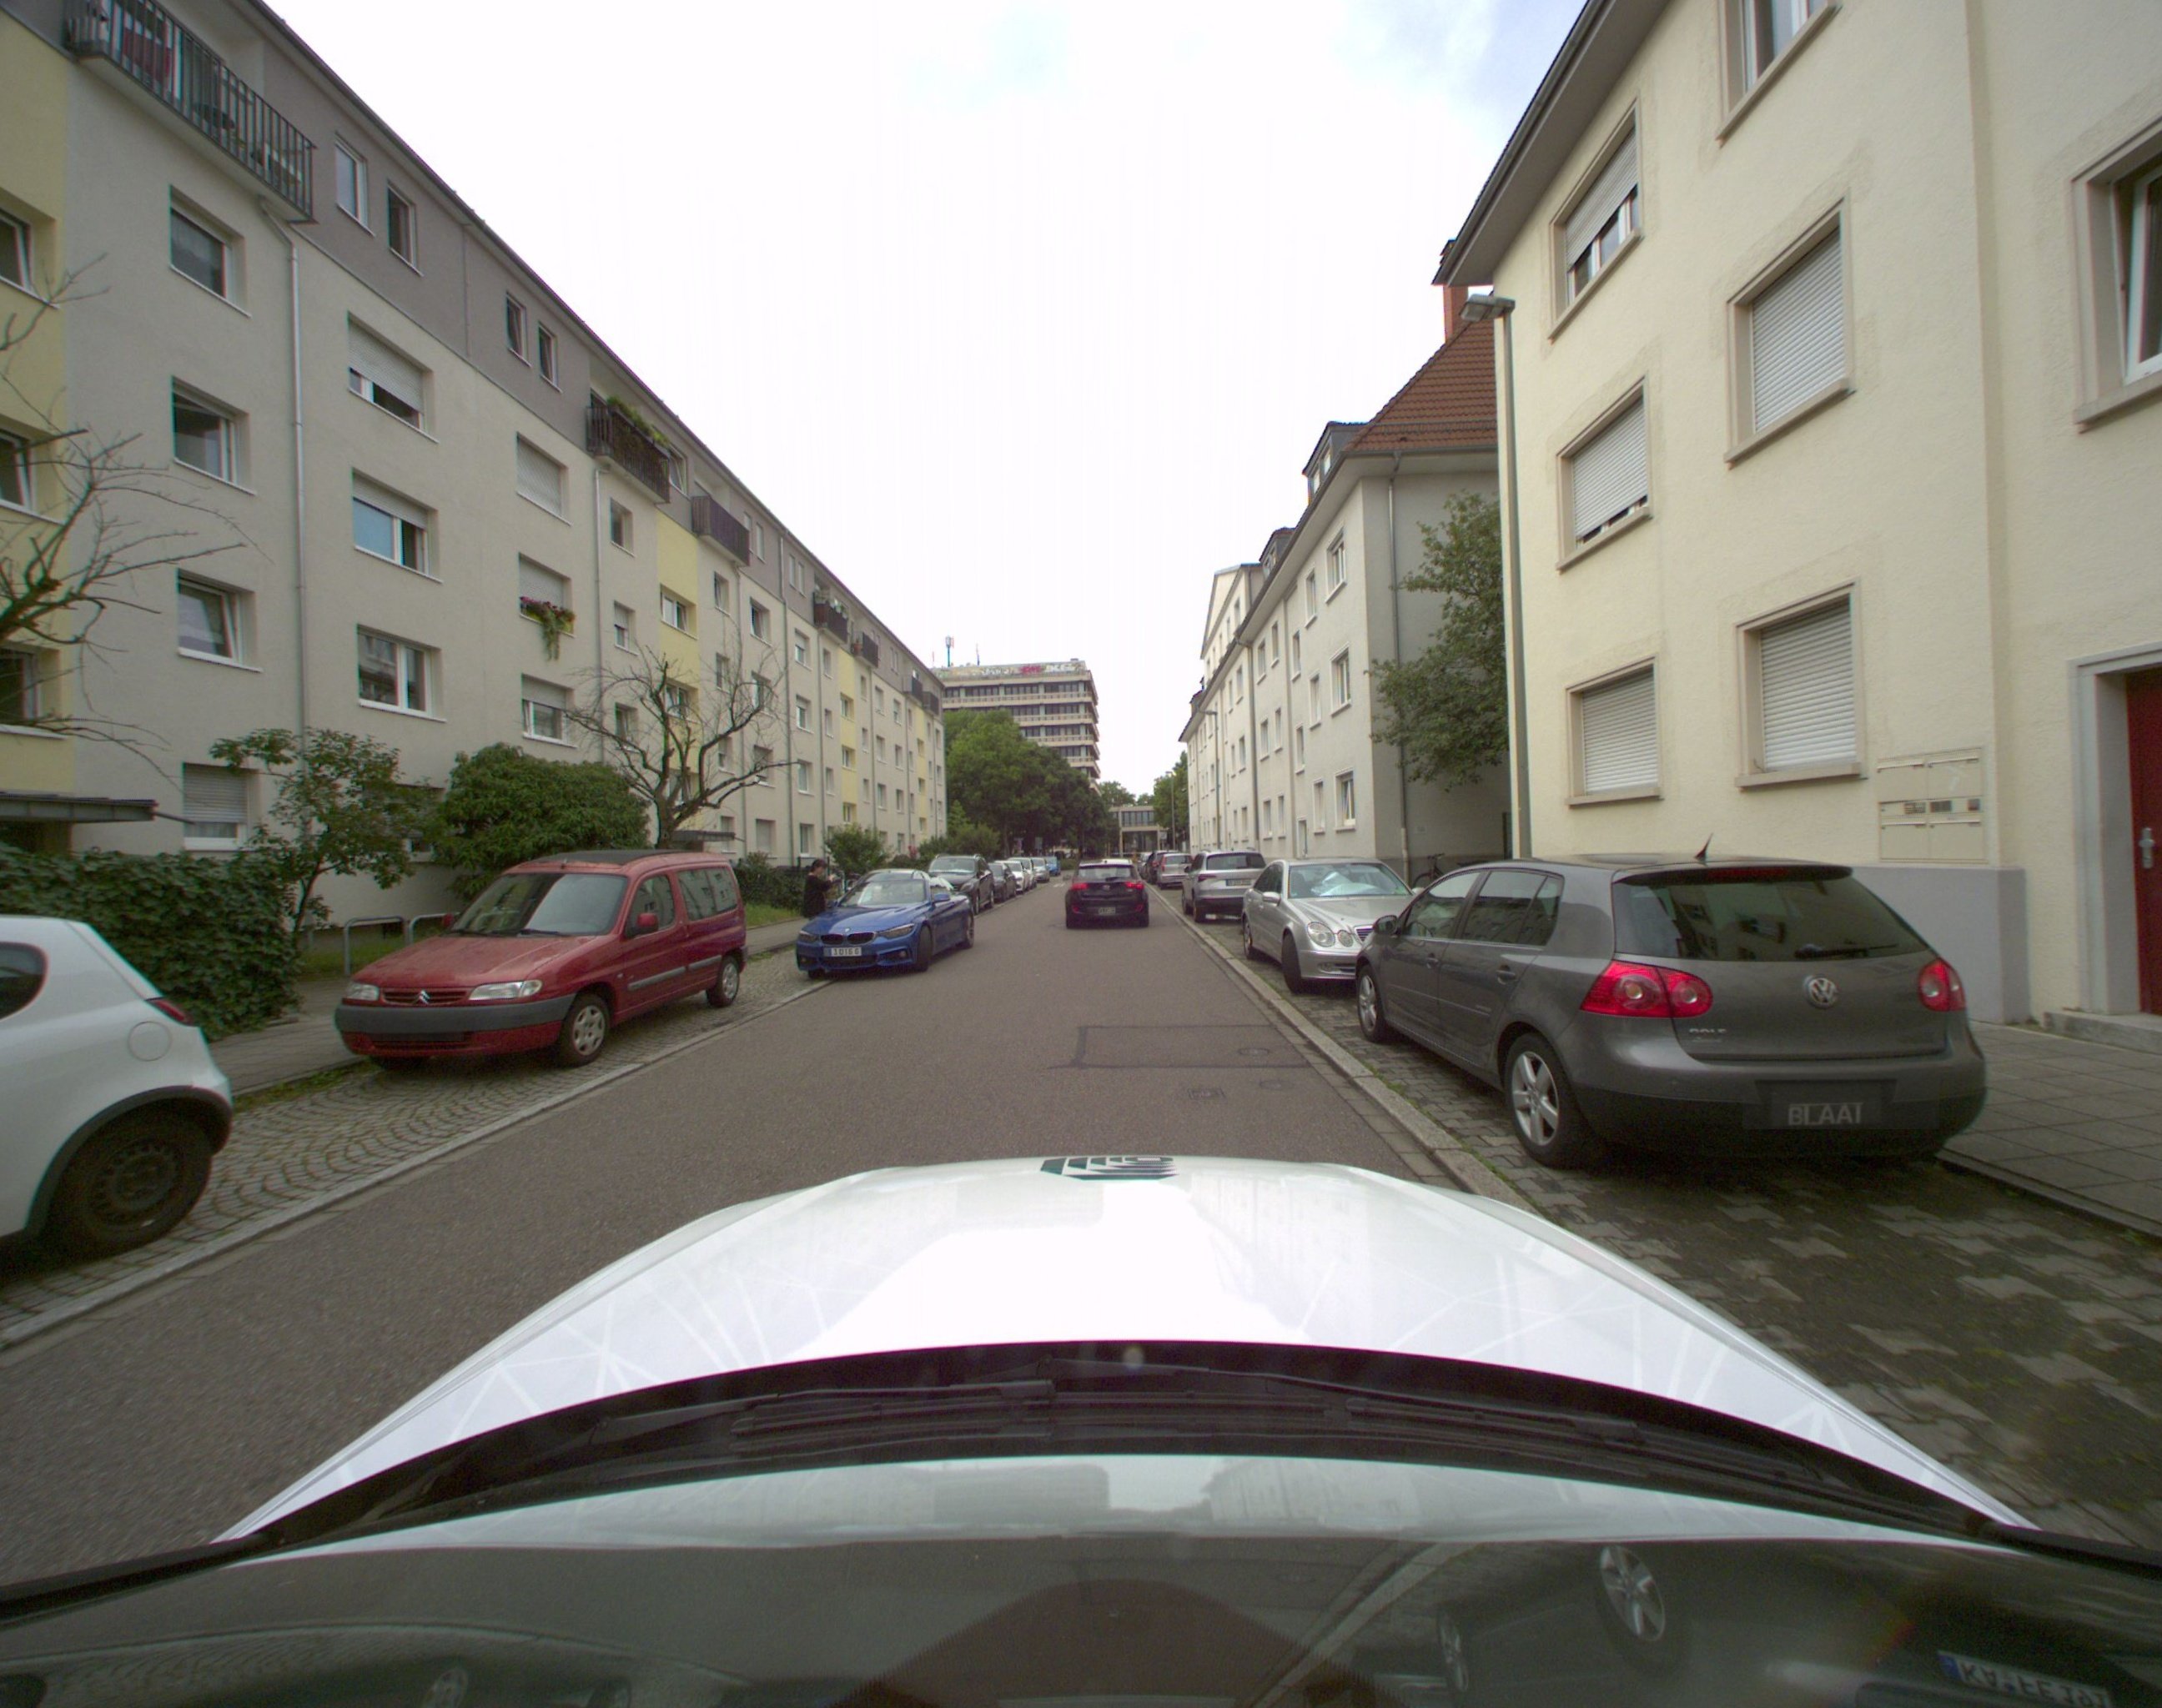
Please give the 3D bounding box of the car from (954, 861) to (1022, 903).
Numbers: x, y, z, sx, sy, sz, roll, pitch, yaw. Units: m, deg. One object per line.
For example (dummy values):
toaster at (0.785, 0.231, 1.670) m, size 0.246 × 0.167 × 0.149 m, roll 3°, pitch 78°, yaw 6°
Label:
car at (-3.493, 1.007, 31.333) m, size 1.887 × 1.452 × 4.669 m, roll 1°, pitch 0°, yaw 2°

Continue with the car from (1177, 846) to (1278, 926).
car at (3.305, 0.673, 19.116) m, size 1.813 × 1.642 × 4.094 m, roll -1°, pitch 0°, yaw 3°

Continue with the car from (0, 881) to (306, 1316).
car at (-4.895, 0.925, 2.238) m, size 1.714 × 1.570 × 3.872 m, roll 0°, pitch 0°, yaw 2°

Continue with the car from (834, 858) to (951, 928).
car at (-4.419, 0.861, 19.652) m, size 1.737 × 1.464 × 3.788 m, roll -2°, pitch 0°, yaw 2°

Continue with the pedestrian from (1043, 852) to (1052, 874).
pedestrian at (-2.898, 0.797, 70.355) m, size 0.710 × 1.831 × 0.798 m, roll -1°, pitch 0°, yaw 4°

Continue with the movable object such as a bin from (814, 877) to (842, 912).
movable object such as a bin at (-7.383, 1.165, 23.753) m, size 0.549 × 0.954 × 0.635 m, roll -3°, pitch 0°, yaw 2°

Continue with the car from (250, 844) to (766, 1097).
car at (-4.931, 0.832, 7.997) m, size 1.950 × 1.770 × 4.361 m, roll -1°, pitch 0°, yaw 0°

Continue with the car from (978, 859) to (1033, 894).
car at (-3.315, 0.965, 36.699) m, size 1.887 × 1.452 × 4.523 m, roll 1°, pitch 0°, yaw 2°

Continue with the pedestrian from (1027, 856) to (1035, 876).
pedestrian at (-4.323, 1.001, 70.273) m, size 0.598 × 1.713 × 0.649 m, roll -1°, pitch 0°, yaw 4°

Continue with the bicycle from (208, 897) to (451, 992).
bicycle at (-10.348, 1.191, 11.437) m, size 0.774 × 0.999 × 2.757 m, roll -2°, pitch 0°, yaw 1°

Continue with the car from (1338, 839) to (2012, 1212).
car at (2.985, 0.694, 5.207) m, size 1.596 × 1.476 × 3.871 m, roll -1°, pitch 0°, yaw 2°

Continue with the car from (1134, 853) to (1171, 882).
car at (4.004, 0.725, 46.108) m, size 1.813 × 1.519 × 4.675 m, roll -2°, pitch 0°, yaw 2°

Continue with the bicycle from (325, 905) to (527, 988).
bicycle at (-9.143, 1.244, 11.576) m, size 0.569 × 0.848 × 2.757 m, roll -2°, pitch 0°, yaw 1°

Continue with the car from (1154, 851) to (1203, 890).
car at (4.142, 0.662, 35.229) m, size 1.813 × 1.503 × 4.094 m, roll -2°, pitch 0°, yaw 3°

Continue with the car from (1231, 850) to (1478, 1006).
car at (3.057, 0.717, 10.120) m, size 1.718 × 1.476 × 4.507 m, roll -1°, pitch 0°, yaw 3°

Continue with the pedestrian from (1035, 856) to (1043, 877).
pedestrian at (-3.617, 1.069, 70.602) m, size 0.602 × 1.831 × 0.676 m, roll -1°, pitch 0°, yaw 4°

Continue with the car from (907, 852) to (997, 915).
car at (-3.860, 0.840, 25.187) m, size 1.887 × 1.740 × 4.477 m, roll 1°, pitch 0°, yaw 2°

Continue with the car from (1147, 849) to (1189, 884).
car at (4.221, 0.582, 39.943) m, size 1.813 × 1.603 × 4.094 m, roll -2°, pitch 0°, yaw 3°

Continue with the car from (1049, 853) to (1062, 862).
car at (-3.756, 0.477, 121.769) m, size 1.659 × 1.333 × 3.397 m, roll -1°, pitch 0°, yaw 2°

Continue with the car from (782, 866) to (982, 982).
car at (-2.938, 0.969, 13.135) m, size 1.837 × 1.451 × 4.505 m, roll -1°, pitch 0°, yaw 3°

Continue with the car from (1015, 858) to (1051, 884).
car at (-2.967, 1.038, 51.134) m, size 1.987 × 1.541 × 3.999 m, roll -1°, pitch 0°, yaw 0°

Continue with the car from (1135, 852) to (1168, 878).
car at (4.453, 0.663, 52.056) m, size 1.813 × 1.519 × 4.675 m, roll -2°, pitch 0°, yaw 2°

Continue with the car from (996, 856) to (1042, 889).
car at (-3.215, 0.919, 42.825) m, size 1.887 × 1.599 × 4.523 m, roll 1°, pitch 0°, yaw 2°

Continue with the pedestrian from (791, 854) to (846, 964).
pedestrian at (-4.269, 0.870, 13.283) m, size 0.742 × 1.701 × 0.792 m, roll -2°, pitch 0°, yaw -15°

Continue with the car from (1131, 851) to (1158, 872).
car at (4.803, 0.588, 62.146) m, size 1.813 × 1.519 × 4.675 m, roll -2°, pitch -1°, yaw 2°

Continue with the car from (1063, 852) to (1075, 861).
car at (-1.973, 0.381, 135.164) m, size 1.659 × 1.333 × 3.397 m, roll -1°, pitch 0°, yaw 2°

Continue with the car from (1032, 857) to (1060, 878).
car at (-2.660, 1.026, 63.456) m, size 1.987 × 1.541 × 3.999 m, roll -1°, pitch 0°, yaw 0°

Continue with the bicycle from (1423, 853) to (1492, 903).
bicycle at (8.442, 0.529, 18.286) m, size 1.287 × 1.062 × 0.498 m, roll -2°, pitch 0°, yaw 4°

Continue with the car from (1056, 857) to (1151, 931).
car at (0.572, 0.823, 18.776) m, size 1.895 × 1.433 × 4.236 m, roll -2°, pitch 0°, yaw 3°
